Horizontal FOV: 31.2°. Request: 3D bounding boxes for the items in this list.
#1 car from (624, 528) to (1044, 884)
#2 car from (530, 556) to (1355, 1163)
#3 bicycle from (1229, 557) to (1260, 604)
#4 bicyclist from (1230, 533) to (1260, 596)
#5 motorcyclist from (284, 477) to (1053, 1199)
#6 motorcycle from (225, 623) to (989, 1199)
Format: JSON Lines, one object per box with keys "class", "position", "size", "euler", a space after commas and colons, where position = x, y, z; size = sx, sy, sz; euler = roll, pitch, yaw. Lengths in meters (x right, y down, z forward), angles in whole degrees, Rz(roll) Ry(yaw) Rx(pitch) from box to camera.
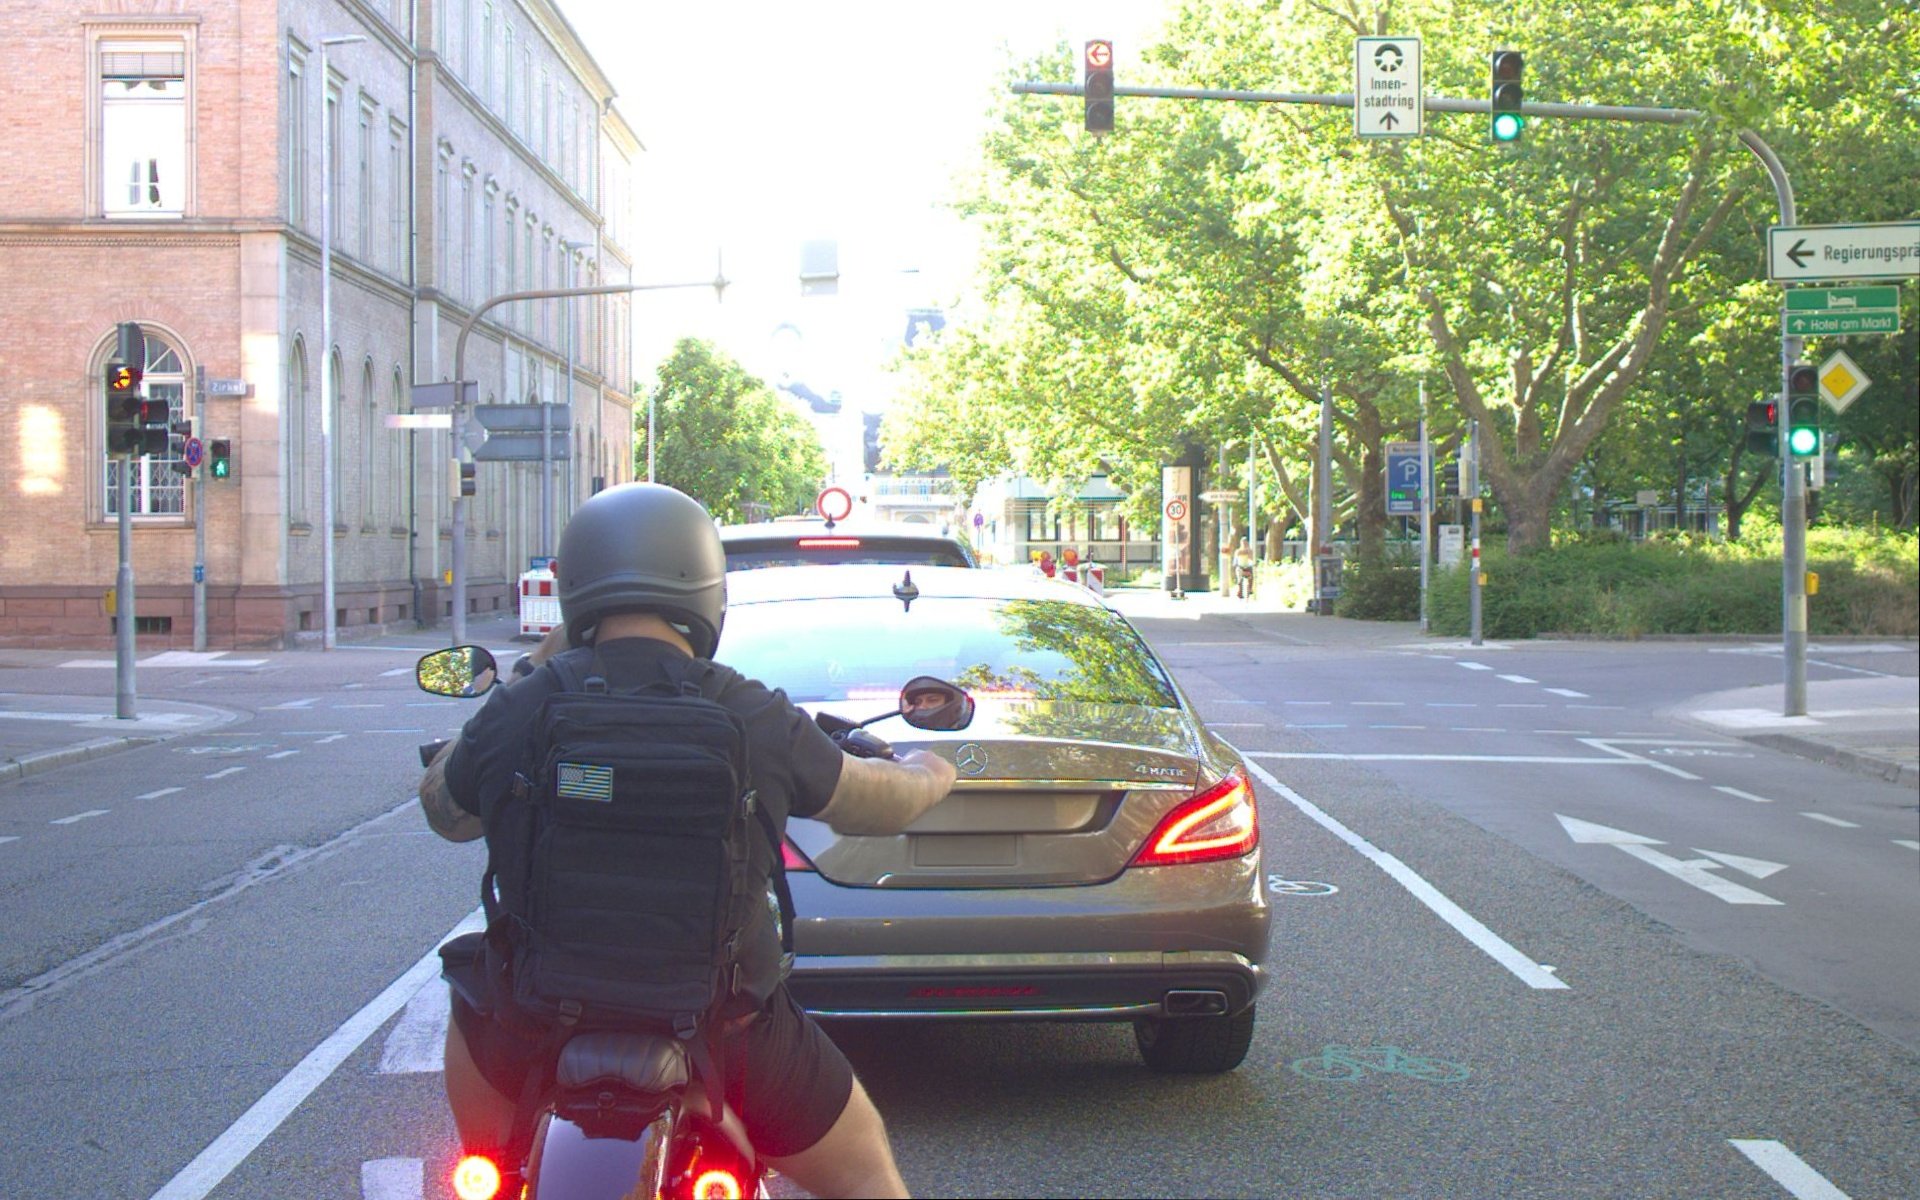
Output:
{"class": "car", "position": [-0.647, 0.419, 16.761], "size": [1.813, 1.530, 3.849], "euler": [0, 1, -3]}
{"class": "car", "position": [-0.290, 0.598, 10.557], "size": [1.901, 1.436, 4.290], "euler": [0, 1, -9]}
{"class": "bicycle", "position": [7.155, -0.502, 86.574], "size": [0.716, 1.168, 2.176], "euler": [1, 1, 3]}
{"class": "bicyclist", "position": [7.172, -0.901, 86.579], "size": [0.716, 1.577, 0.936], "euler": [1, 0, 3]}
{"class": "motorcyclist", "position": [-0.416, 0.620, 5.259], "size": [1.061, 1.577, 0.908], "euler": [1, 0, -1]}
{"class": "motorcycle", "position": [-0.466, 0.738, 5.530], "size": [0.962, 1.352, 2.320], "euler": [1, 1, -1]}
